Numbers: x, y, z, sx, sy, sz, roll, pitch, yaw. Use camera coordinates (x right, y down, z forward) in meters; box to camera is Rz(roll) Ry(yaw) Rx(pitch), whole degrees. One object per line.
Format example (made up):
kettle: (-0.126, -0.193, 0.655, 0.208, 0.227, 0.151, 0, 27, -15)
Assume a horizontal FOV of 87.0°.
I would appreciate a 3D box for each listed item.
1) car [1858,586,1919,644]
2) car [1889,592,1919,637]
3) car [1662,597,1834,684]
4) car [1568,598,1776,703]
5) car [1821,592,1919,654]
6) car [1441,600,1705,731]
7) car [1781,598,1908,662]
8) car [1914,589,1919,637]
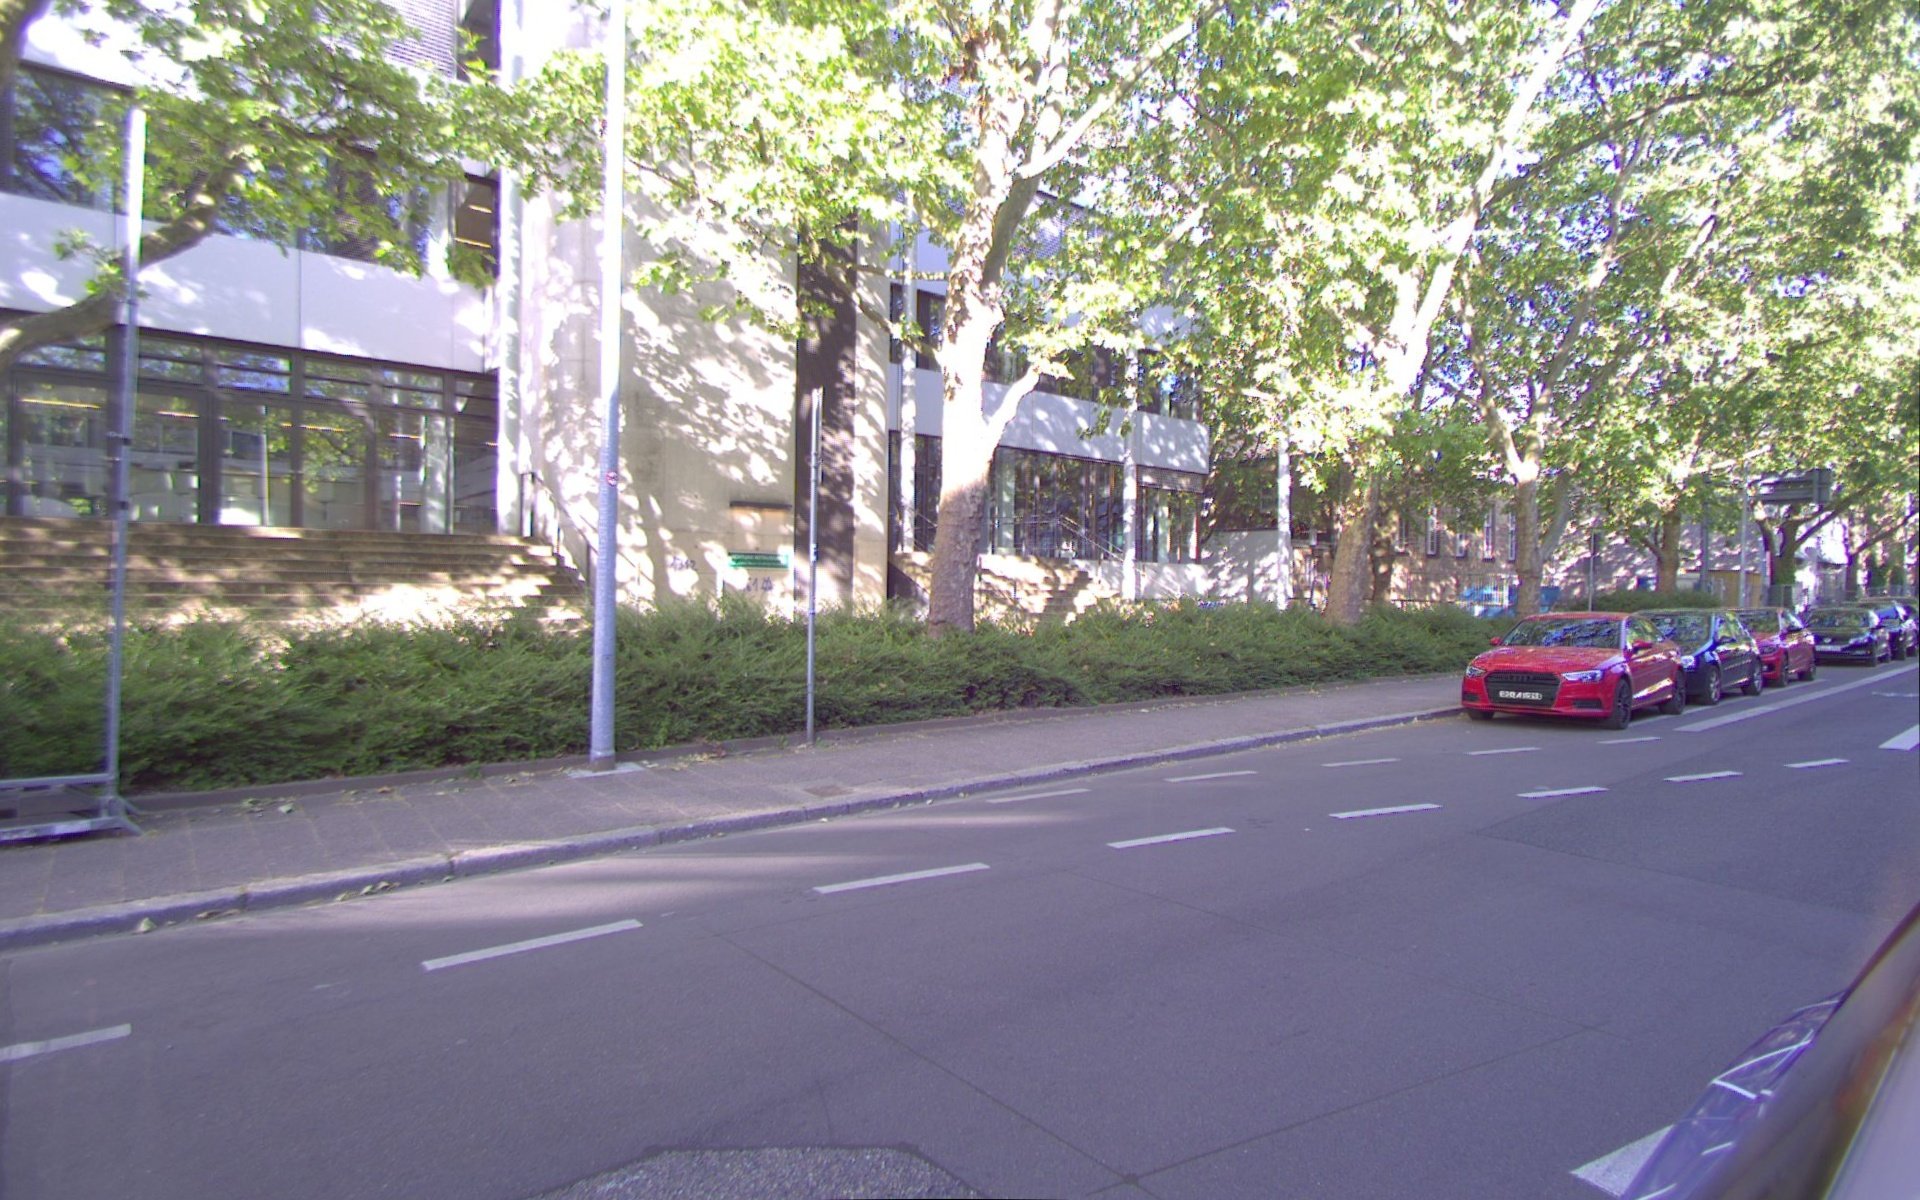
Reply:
car: (31.271, 0.444, 33.314, 4.493, 1.809, 1.997, -1, 0, -41)
car: (36.044, 0.520, 37.462, 4.070, 1.585, 1.997, -1, 0, -41)
car: (15.658, 0.714, 20.059, 3.762, 1.517, 1.997, -1, 0, -41)
car: (11.729, 0.726, 16.604, 3.581, 1.478, 1.997, -1, 0, -41)
car: (26.536, 0.604, 29.189, 4.070, 1.621, 1.997, -1, 0, -41)
car: (8.265, 0.749, 13.527, 3.930, 1.443, 1.906, -1, 0, -41)
car: (22.807, 0.716, 26.064, 3.527, 1.474, 1.997, -1, 0, -41)
car: (39.605, 0.479, 40.266, 3.930, 1.872, 1.997, -1, 0, -41)
